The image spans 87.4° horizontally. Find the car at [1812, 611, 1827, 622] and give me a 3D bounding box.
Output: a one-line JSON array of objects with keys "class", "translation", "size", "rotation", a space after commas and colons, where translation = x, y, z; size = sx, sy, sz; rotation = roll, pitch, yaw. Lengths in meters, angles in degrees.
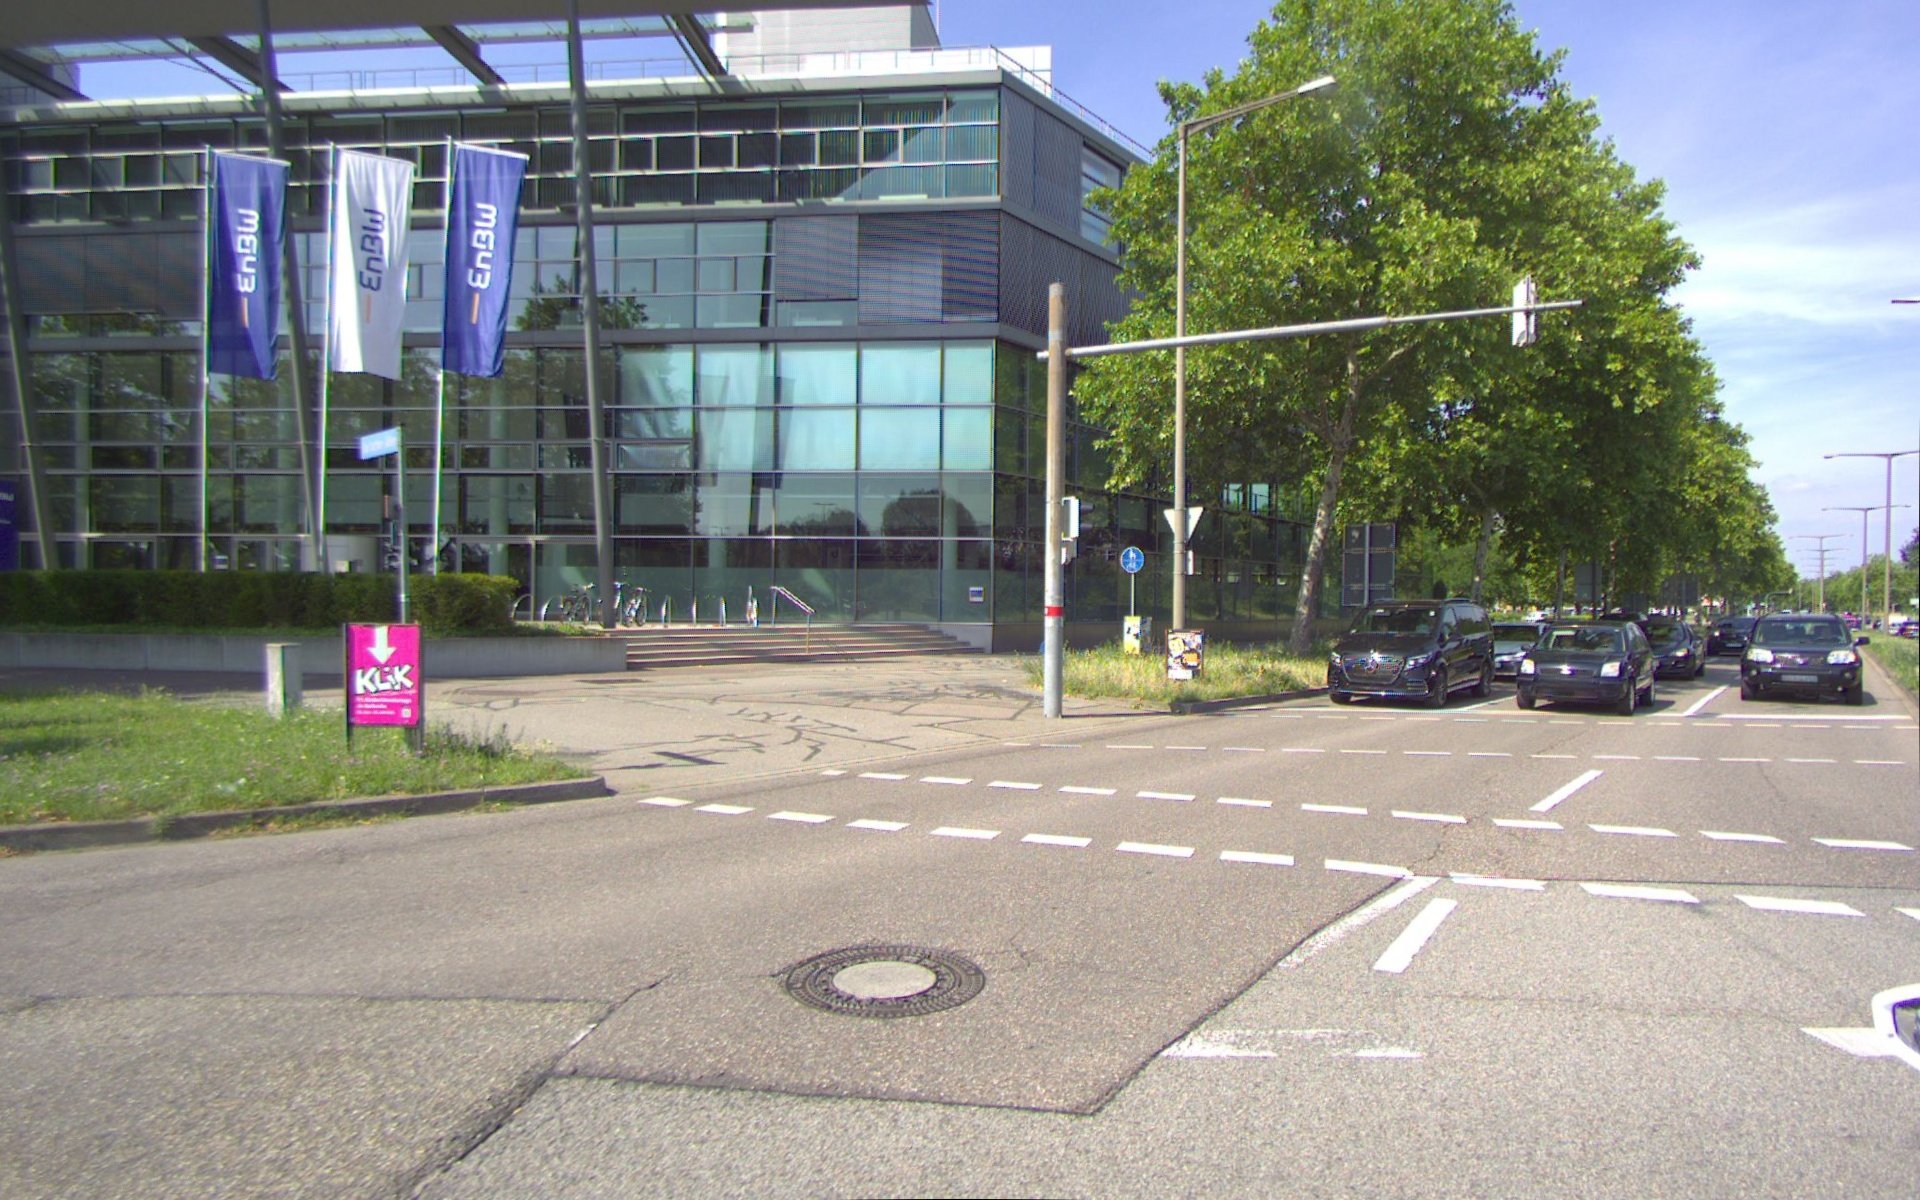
[{"class": "car", "translation": [160.341, 3.101, 187.340], "size": [1.971, 1.884, 3.978], "rotation": [1, 0, 42]}]

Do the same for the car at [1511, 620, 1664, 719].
[{"class": "car", "translation": [11.231, 1.132, 17.865], "size": [1.741, 1.495, 3.938], "rotation": [1, 0, 41]}]

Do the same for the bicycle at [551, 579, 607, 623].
[{"class": "bicycle", "translation": [-10.153, 0.022, 26.829], "size": [0.724, 1.126, 1.801], "rotation": [1, 0, 3]}]

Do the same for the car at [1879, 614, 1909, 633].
[{"class": "car", "translation": [92.123, 2.299, 99.121], "size": [1.971, 1.731, 4.241], "rotation": [1, 0, 41]}]

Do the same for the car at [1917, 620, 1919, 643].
[{"class": "car", "translation": [85.808, 2.831, 88.468], "size": [1.995, 1.863, 3.979], "rotation": [2, 3, 41]}]

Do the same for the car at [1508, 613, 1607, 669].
[{"class": "car", "translation": [18.699, 1.238, 31.335], "size": [1.866, 1.611, 4.422], "rotation": [-1, -2, 41]}]

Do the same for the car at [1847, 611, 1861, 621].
[{"class": "car", "translation": [173.632, 3.067, 195.156], "size": [1.889, 1.870, 3.981], "rotation": [1, 0, 40]}]

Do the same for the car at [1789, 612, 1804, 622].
[{"class": "car", "translation": [162.535, 3.279, 195.134], "size": [1.973, 1.799, 3.975], "rotation": [1, -1, 44]}]

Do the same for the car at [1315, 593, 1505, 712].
[{"class": "car", "translation": [8.726, 0.850, 19.199], "size": [1.915, 1.945, 5.202], "rotation": [1, 1, 41]}]

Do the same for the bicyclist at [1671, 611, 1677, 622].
[{"class": "bicyclist", "translation": [99.271, 2.284, 139.646], "size": [0.673, 1.504, 0.937], "rotation": [0, 0, 41]}]

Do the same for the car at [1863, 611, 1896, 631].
[{"class": "car", "translation": [81.318, 1.814, 88.892], "size": [1.970, 1.706, 3.980], "rotation": [1, 0, 41]}]

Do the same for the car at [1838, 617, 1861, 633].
[{"class": "car", "translation": [90.367, 2.545, 102.108], "size": [1.607, 1.503, 4.028], "rotation": [3, 2, 40]}]

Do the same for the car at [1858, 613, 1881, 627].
[{"class": "car", "translation": [110.737, 2.436, 122.317], "size": [1.970, 1.651, 4.066], "rotation": [1, 0, 41]}]

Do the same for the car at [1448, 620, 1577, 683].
[{"class": "car", "translation": [14.295, 1.242, 25.854], "size": [1.870, 1.468, 4.978], "rotation": [-1, -2, 41]}]

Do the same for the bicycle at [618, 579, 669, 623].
[{"class": "bicycle", "translation": [-8.431, 0.023, 26.821], "size": [0.724, 1.126, 1.801], "rotation": [1, 0, 3]}]

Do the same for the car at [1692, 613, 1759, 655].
[{"class": "car", "translation": [32.073, 1.381, 42.047], "size": [1.971, 1.632, 4.473], "rotation": [0, 0, 41]}]

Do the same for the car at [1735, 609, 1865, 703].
[{"class": "car", "translation": [16.564, 1.002, 19.878], "size": [1.786, 1.637, 4.470], "rotation": [0, 0, 40]}]

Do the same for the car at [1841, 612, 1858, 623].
[{"class": "car", "translation": [138.474, 2.741, 156.372], "size": [1.971, 1.684, 4.225], "rotation": [1, 0, 41]}]

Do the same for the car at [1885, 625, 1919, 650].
[{"class": "car", "translation": [70.636, 2.771, 75.317], "size": [1.717, 1.556, 3.979], "rotation": [2, 3, 41]}]

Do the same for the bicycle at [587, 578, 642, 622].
[{"class": "bicycle", "translation": [-9.214, -0.007, 26.869], "size": [0.724, 1.126, 1.887], "rotation": [1, 0, 3]}]

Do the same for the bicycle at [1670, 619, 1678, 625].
[{"class": "bicycle", "translation": [99.184, 3.094, 139.503], "size": [0.681, 0.877, 1.916], "rotation": [0, -1, 41]}]

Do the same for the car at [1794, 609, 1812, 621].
[{"class": "car", "translation": [111.419, 2.007, 132.719], "size": [1.752, 1.487, 4.647], "rotation": [0, -1, 41]}]

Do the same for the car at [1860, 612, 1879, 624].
[{"class": "car", "translation": [141.152, 2.777, 155.892], "size": [1.889, 1.870, 3.981], "rotation": [1, 0, 40]}]

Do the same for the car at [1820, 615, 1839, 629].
[{"class": "car", "translation": [122.654, 3.122, 141.664], "size": [1.889, 1.870, 3.981], "rotation": [1, 0, 40]}]

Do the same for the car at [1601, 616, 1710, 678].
[{"class": "car", "translation": [18.356, 1.193, 26.433], "size": [1.815, 1.481, 4.493], "rotation": [-2, -2, 41]}]
